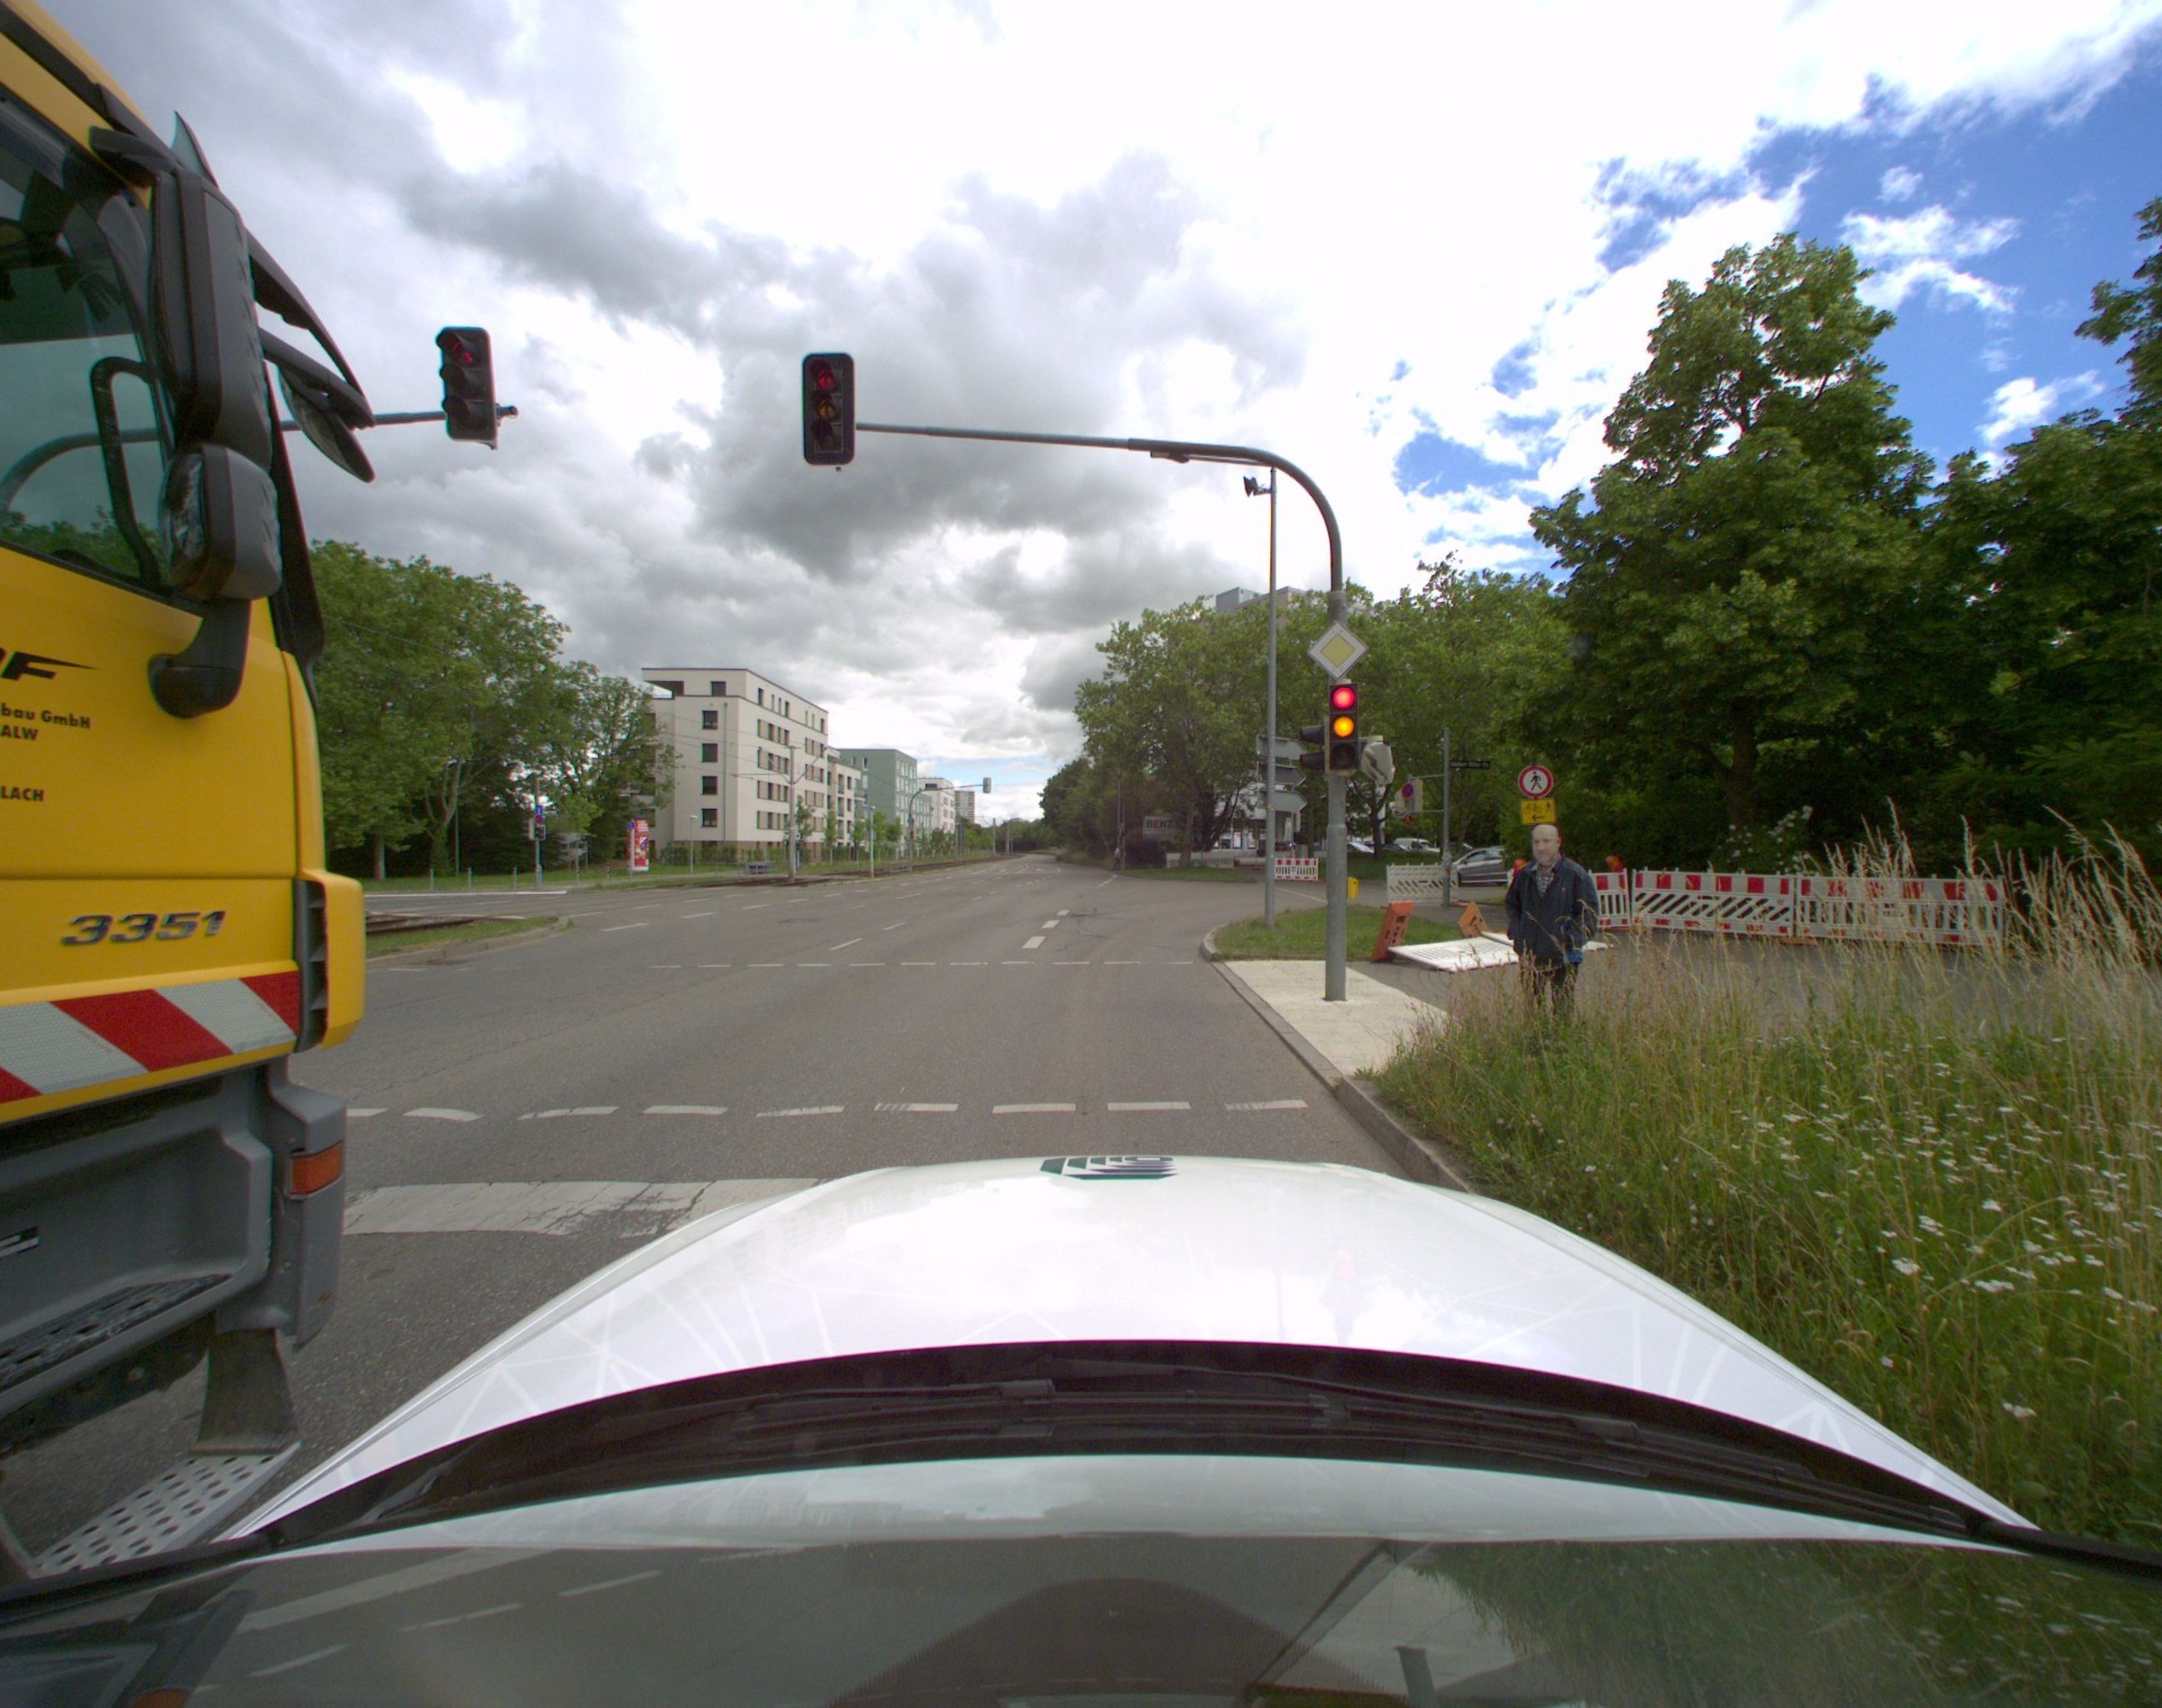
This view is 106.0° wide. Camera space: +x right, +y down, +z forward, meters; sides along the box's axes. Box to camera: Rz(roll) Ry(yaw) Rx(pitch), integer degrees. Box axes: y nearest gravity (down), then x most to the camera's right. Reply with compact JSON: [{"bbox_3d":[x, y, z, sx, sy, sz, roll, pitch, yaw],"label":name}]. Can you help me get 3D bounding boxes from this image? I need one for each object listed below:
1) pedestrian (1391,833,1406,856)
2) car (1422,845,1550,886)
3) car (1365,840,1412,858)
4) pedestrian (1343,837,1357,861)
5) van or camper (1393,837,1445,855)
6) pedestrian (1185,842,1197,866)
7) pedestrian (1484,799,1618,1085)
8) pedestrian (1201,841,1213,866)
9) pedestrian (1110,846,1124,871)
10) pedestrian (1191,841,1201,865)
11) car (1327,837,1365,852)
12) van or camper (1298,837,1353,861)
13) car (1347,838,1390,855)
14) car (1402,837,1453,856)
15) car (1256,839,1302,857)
[{"bbox_3d":[27.138,-0.800,69.595,1.064,1.871,1.064,-1,-1,17],"label":"pedestrian"},{"bbox_3d":[16.516,0.465,33.352,4.379,1.586,1.774,0,-1,2],"label":"car"},{"bbox_3d":[24.318,-0.378,64.526,1.488,1.404,3.378,0,-1,-27],"label":"car"},{"bbox_3d":[22.343,-0.422,67.643,0.802,2.002,0.853,0,-1,-1],"label":"pedestrian"},{"bbox_3d":[27.448,-0.657,66.263,1.523,1.356,3.738,0,-1,-31],"label":"van or camper"},{"bbox_3d":[6.751,0.014,49.889,0.693,1.489,0.690,-1,-1,10],"label":"pedestrian"},{"bbox_3d":[3.210,0.530,5.543,0.719,1.740,0.962,-1,0,33],"label":"pedestrian"},{"bbox_3d":[7.682,-0.013,49.739,0.694,1.489,0.721,0,-1,5],"label":"pedestrian"},{"bbox_3d":[2.301,0.308,52.017,0.844,1.586,0.797,0,-1,4],"label":"pedestrian"},{"bbox_3d":[7.318,-0.054,51.813,0.649,1.539,0.775,-1,-1,9],"label":"pedestrian"},{"bbox_3d":[25.313,-0.898,77.809,1.489,1.404,3.377,0,-1,-29],"label":"car"},{"bbox_3d":[18.477,-0.385,61.730,1.849,1.684,3.967,-1,0,-25],"label":"van or camper"},{"bbox_3d":[28.024,-0.771,79.403,1.677,1.634,3.787,0,1,-28],"label":"car"},{"bbox_3d":[29.019,-0.602,68.346,1.489,1.465,3.856,0,-1,-29],"label":"car"},{"bbox_3d":[17.519,-0.497,72.279,1.736,1.500,4.234,0,-1,-24],"label":"car"}]
